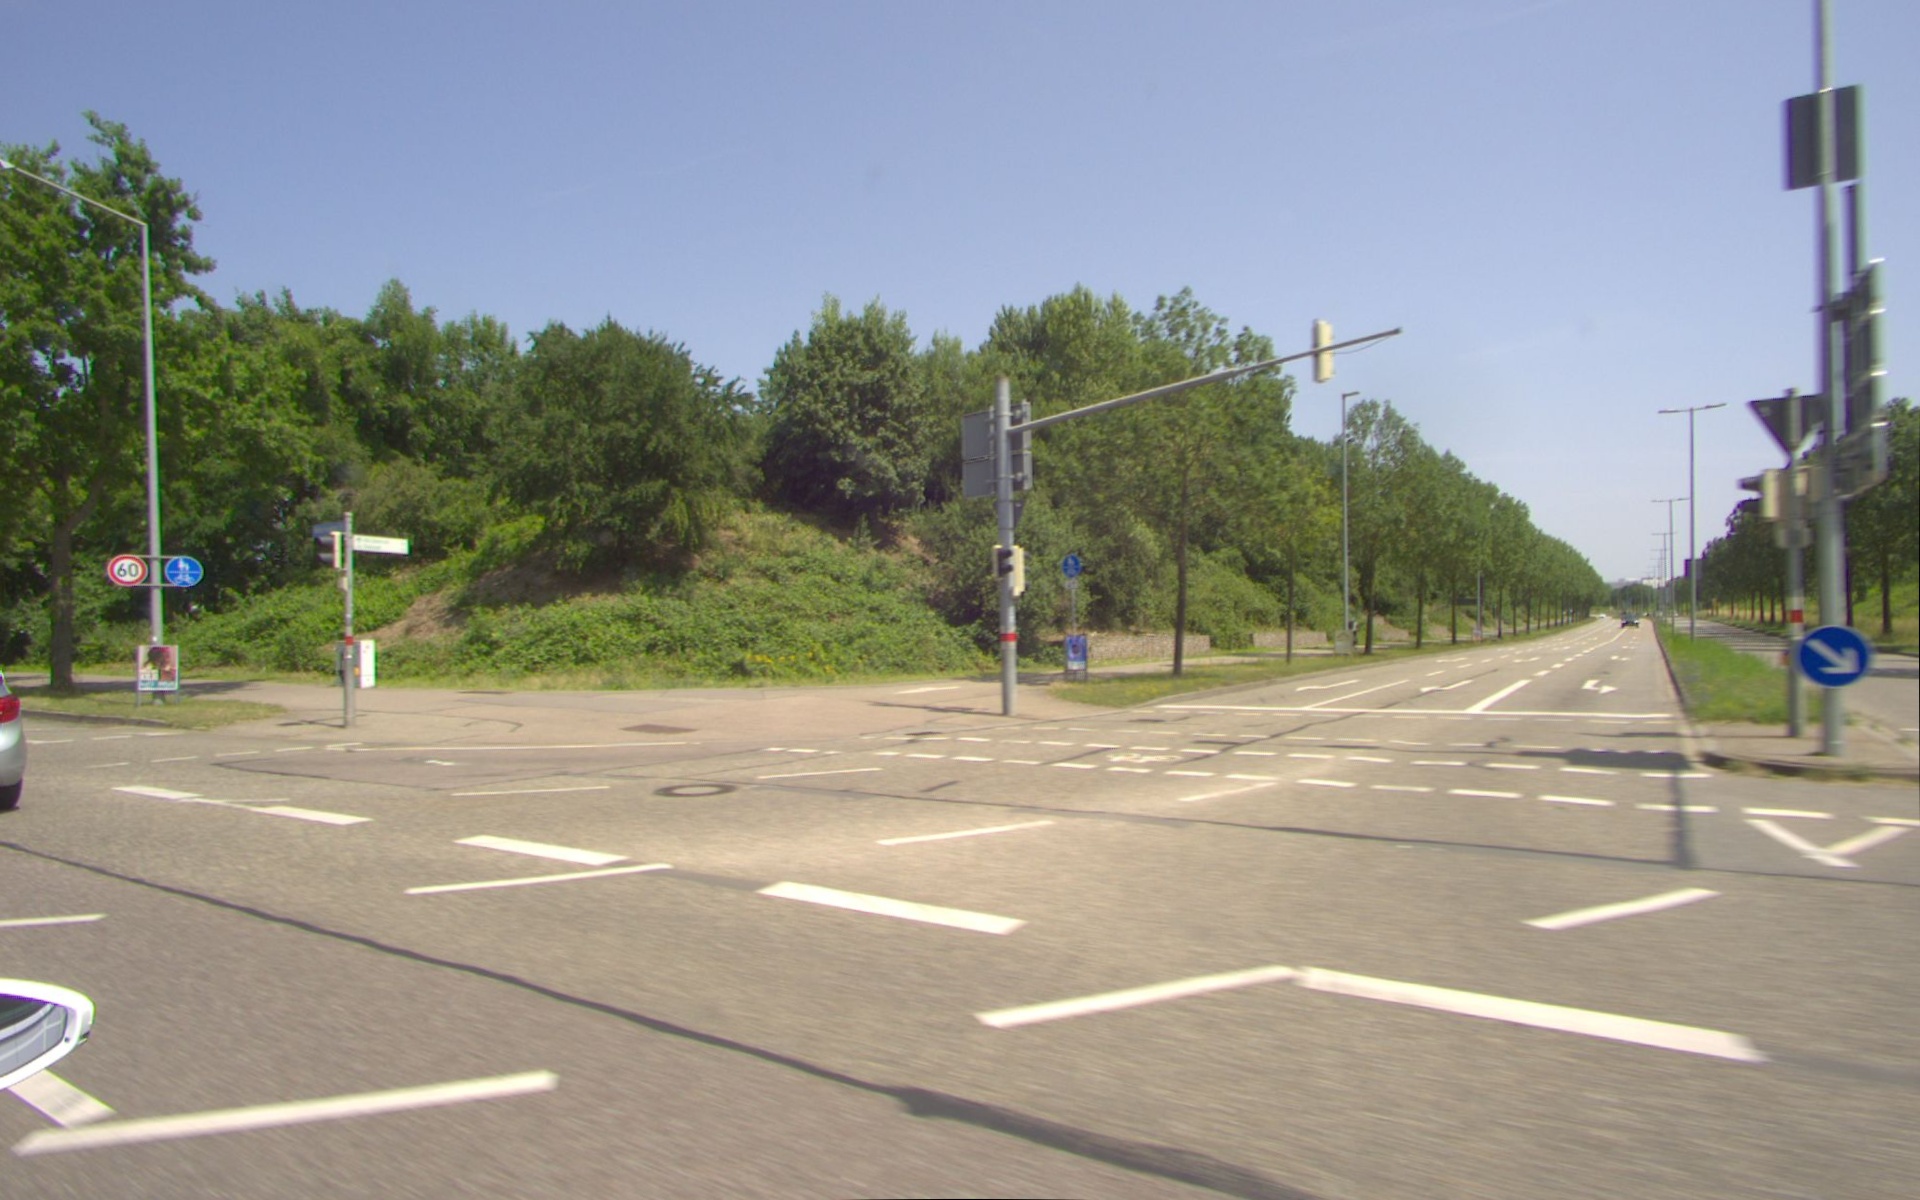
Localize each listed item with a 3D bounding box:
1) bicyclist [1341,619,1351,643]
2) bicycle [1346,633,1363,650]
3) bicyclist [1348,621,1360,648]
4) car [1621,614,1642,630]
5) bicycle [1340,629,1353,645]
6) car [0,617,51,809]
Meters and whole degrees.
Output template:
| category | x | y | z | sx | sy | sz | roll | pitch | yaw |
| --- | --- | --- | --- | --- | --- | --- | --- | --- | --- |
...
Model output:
| category | x | y | z | sx | sy | sz | roll | pitch | yaw |
| --- | --- | --- | --- | --- | --- | --- | --- | --- | --- |
| bicyclist | 22.259 | 1.780 | 57.709 | 0.415 | 1.400 | 0.487 | -1 | 0 | 38 |
| bicycle | 21.321 | 2.224 | 54.118 | 0.435 | 0.896 | 1.444 | -1 | -1 | 37 |
| bicyclist | 21.275 | 1.855 | 54.047 | 0.478 | 1.452 | 0.487 | 0 | 0 | 38 |
| car | 87.416 | 2.863 | 130.295 | 1.976 | 2.040 | 3.971 | -1 | -1 | 39 |
| bicycle | 22.275 | 2.122 | 57.705 | 0.373 | 0.896 | 1.115 | -1 | -1 | 37 |
| car | -10.062 | 0.972 | 9.022 | 3.835 | 1.632 | 1.790 | -1 | -2 | 32 |
